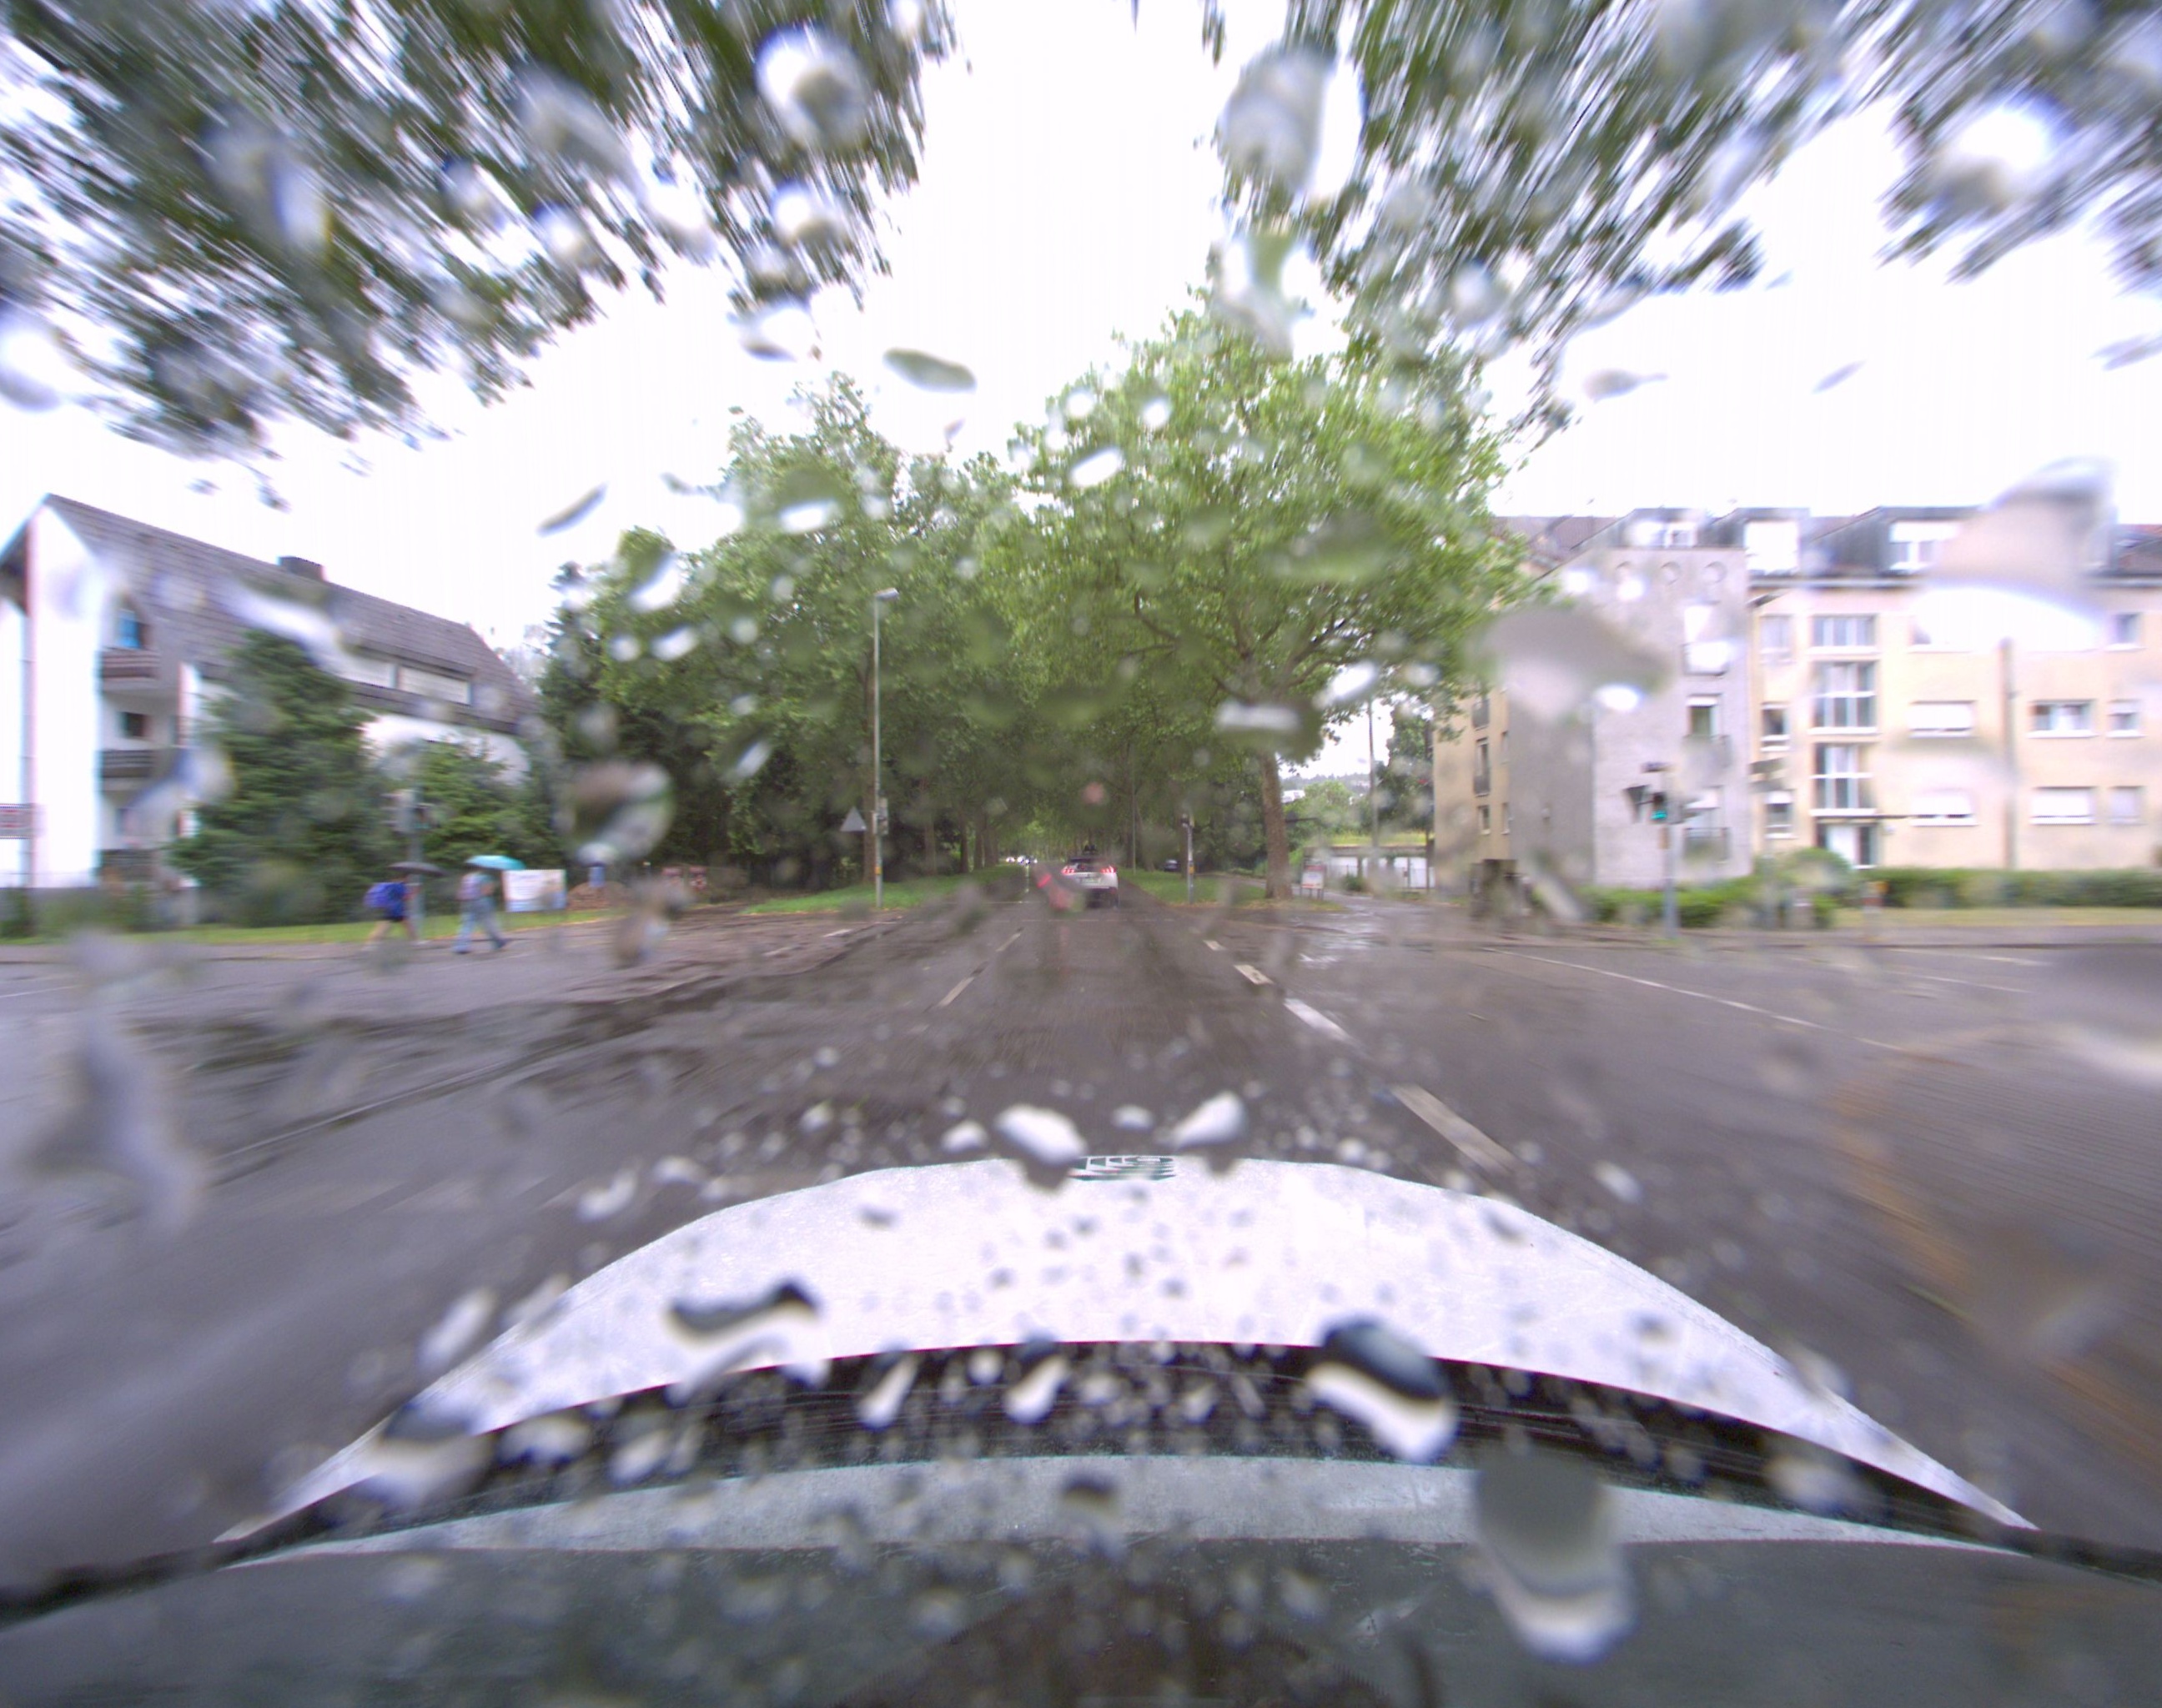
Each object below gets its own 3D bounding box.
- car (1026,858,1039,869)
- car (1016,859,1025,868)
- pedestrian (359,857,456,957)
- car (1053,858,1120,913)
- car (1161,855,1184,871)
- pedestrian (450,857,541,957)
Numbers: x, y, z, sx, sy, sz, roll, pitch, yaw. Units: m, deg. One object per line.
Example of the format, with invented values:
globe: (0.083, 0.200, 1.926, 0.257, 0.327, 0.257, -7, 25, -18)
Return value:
car: (-7.867, 1.495, 131.446, 1.867, 1.677, 3.707, -1, -1, 0)
car: (-12.676, 1.974, 171.649, 1.736, 2.014, 3.662, -1, -1, -1)
pedestrian: (-12.478, 0.957, 15.114, 1.028, 1.765, 0.880, -2, 0, 4)
car: (0.092, 0.893, 25.290, 1.777, 1.536, 4.051, 0, 0, -4)
car: (9.296, 0.899, 83.194, 1.899, 1.510, 3.931, -1, -1, 0)
pedestrian: (-10.790, 0.951, 15.041, 1.028, 1.765, 0.839, -2, 0, 4)
